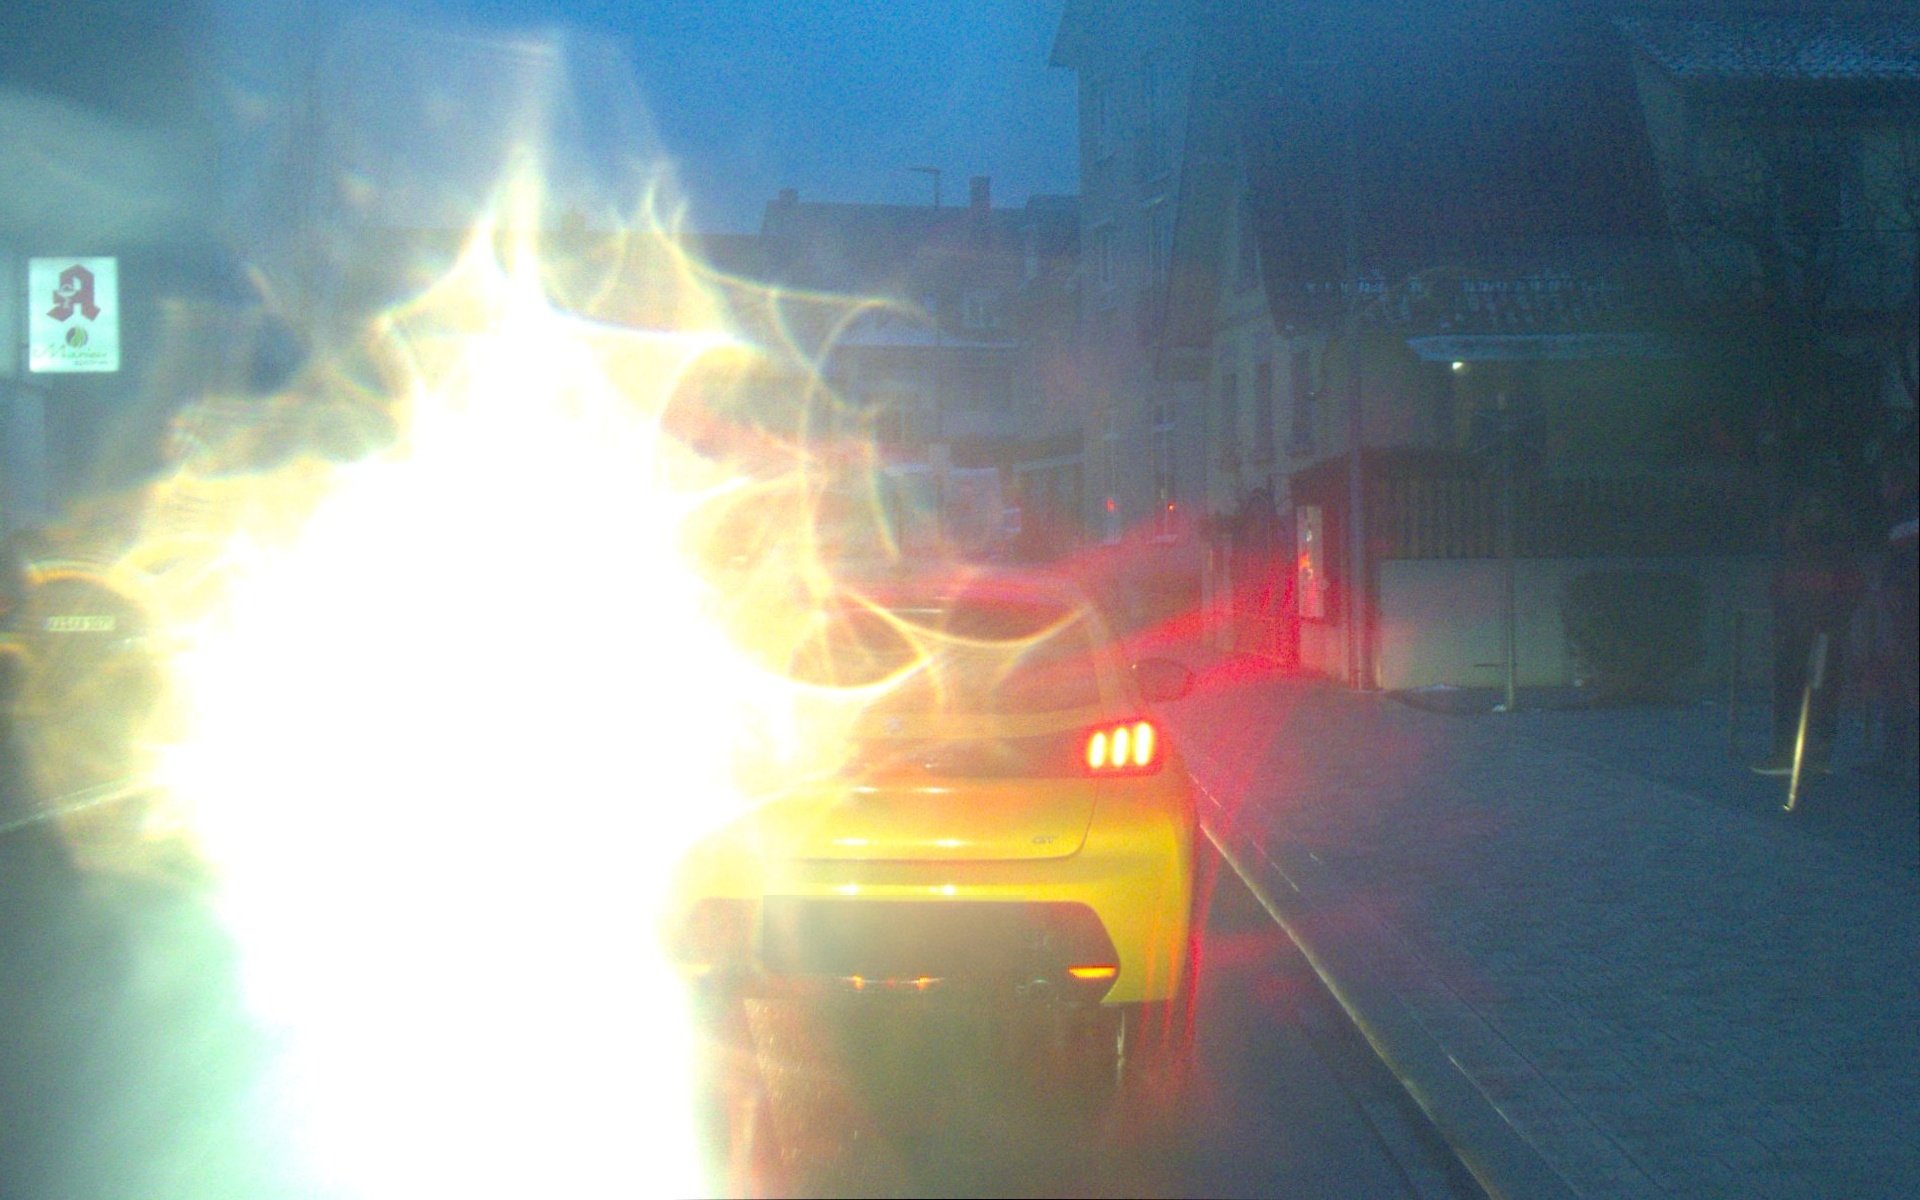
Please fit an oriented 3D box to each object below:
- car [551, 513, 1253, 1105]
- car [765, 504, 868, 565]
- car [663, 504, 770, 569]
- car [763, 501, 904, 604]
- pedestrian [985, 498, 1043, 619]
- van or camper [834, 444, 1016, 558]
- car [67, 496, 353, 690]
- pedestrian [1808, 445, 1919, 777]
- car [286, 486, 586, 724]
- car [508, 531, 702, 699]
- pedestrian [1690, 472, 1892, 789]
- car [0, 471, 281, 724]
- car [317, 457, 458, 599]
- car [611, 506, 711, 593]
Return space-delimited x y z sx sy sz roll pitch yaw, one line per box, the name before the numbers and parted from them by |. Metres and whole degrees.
car | -0.300 0.518 10.978 1.814 1.528 4.001 1 1 -4
car | -4.154 -1.869 98.977 1.993 1.605 4.175 -2 1 -16
car | -7.001 -1.825 98.538 1.993 1.759 4.352 -2 2 -18
car | -2.100 -0.779 55.996 1.993 1.583 4.001 1 1 -6
pedestrian | 0.779 -0.614 49.717 0.745 1.723 0.873 0 2 -5
van or camper | -1.074 -2.852 99.821 2.650 3.037 6.736 -4 3 -24
car | -7.108 -0.105 33.044 1.880 1.704 4.713 1 1 -2
pedestrian | 5.006 0.044 18.149 0.703 1.699 0.915 -2 1 -7
car | -4.267 -0.040 28.715 1.993 1.700 4.968 2 2 -4
car | -3.971 0.120 39.082 1.951 1.541 4.417 -1 4 -3
pedestrian | 4.607 0.159 19.102 0.842 1.699 0.839 -2 1 -3
car | -6.599 -0.086 26.869 2.085 1.786 5.025 0 2 -6
car | -10.945 -1.341 66.022 2.485 2.551 6.763 1 0 -9
car | -6.702 -1.133 76.783 1.993 1.851 4.001 1 1 -8
